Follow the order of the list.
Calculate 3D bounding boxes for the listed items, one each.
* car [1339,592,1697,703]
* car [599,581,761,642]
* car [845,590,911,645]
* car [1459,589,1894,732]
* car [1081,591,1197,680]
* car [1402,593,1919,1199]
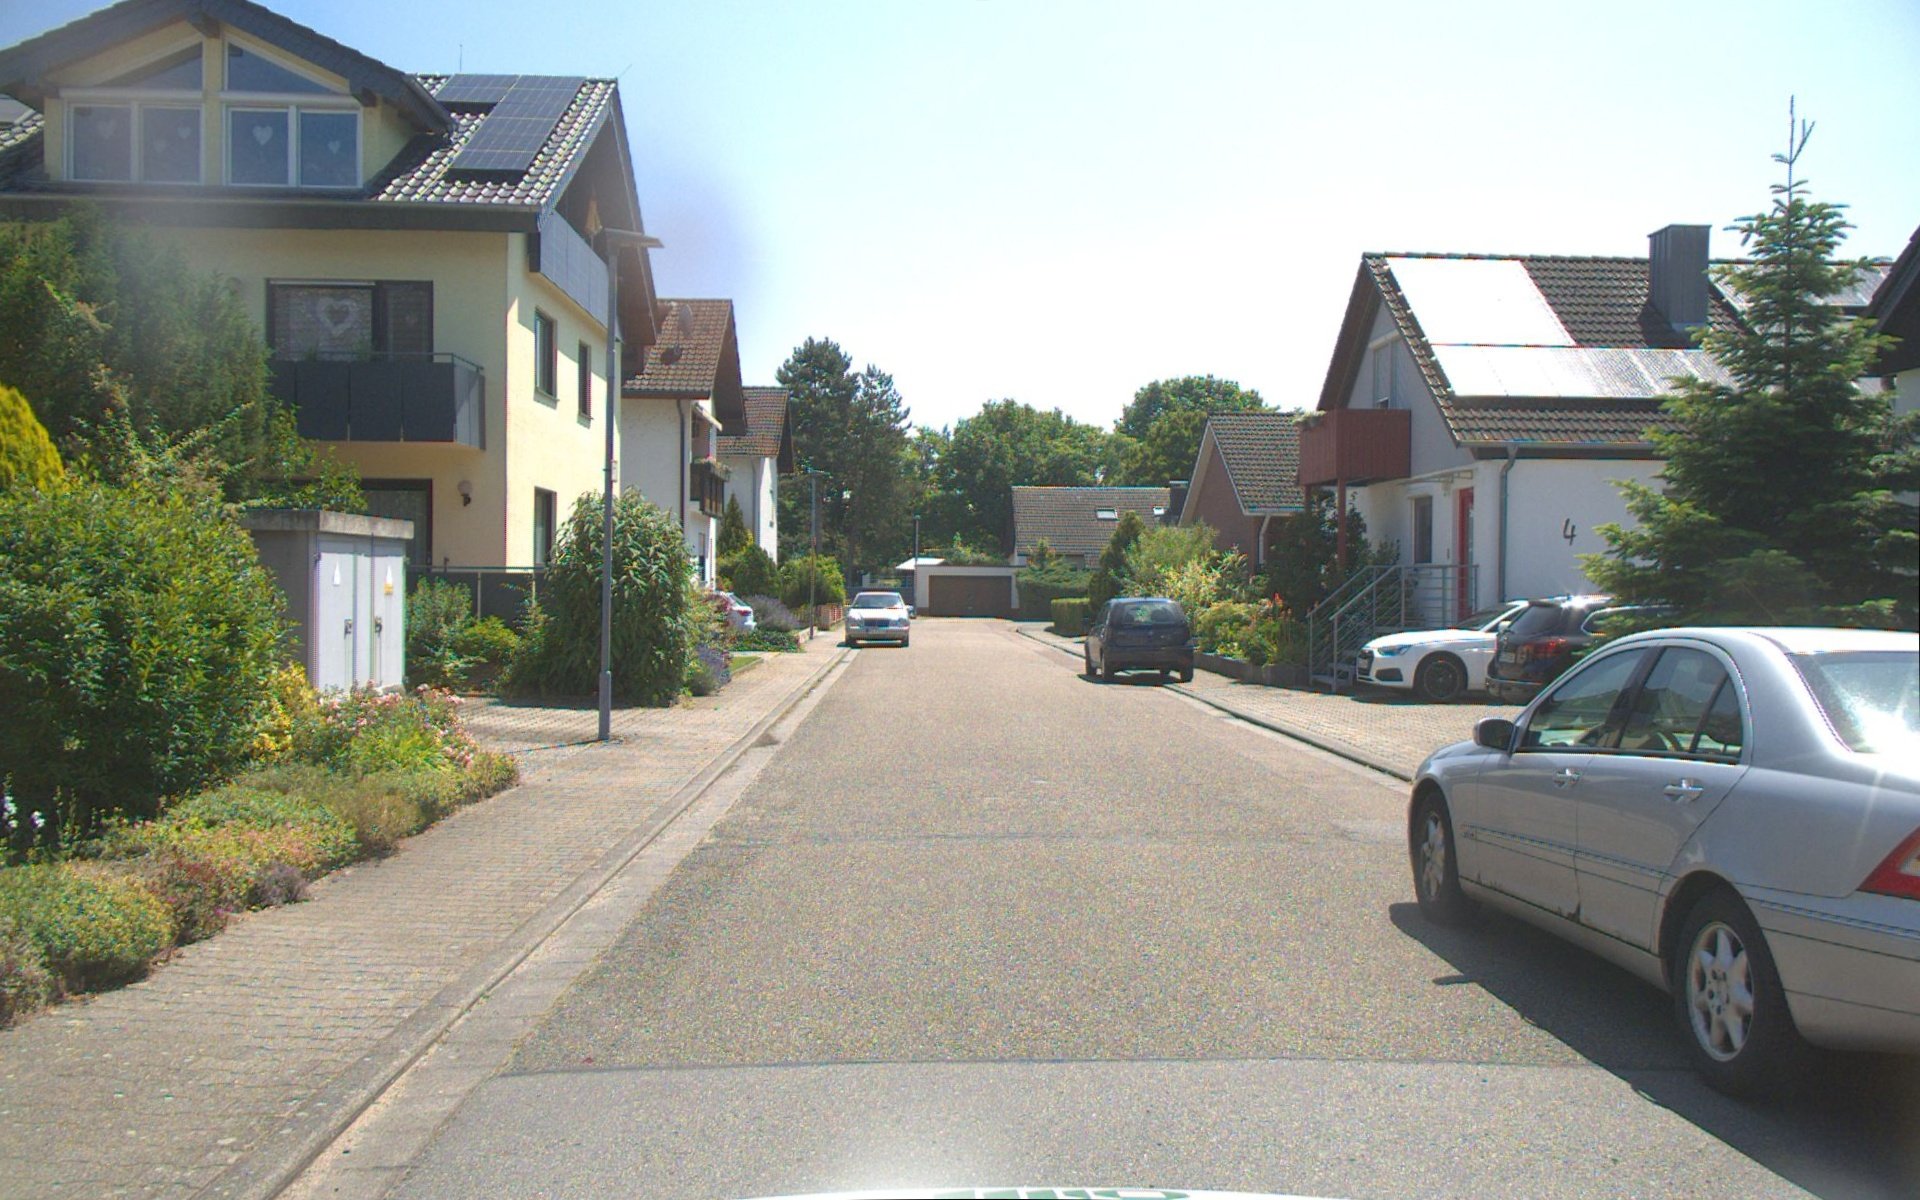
[{"bbox_3d":[7.858,0.647,23.596,4.444,1.421,1.952,1,1,0],"label":"car"},{"bbox_3d":[-7.028,0.280,41.798,3.911,1.445,1.843,1,0,-7],"label":"car"},{"bbox_3d":[-2.237,0.451,45.981,1.665,1.417,4.336,1,1,-1],"label":"car"},{"bbox_3d":[8.167,0.663,19.122,4.155,1.512,1.999,1,1,-2],"label":"car"},{"bbox_3d":[3.182,0.599,29.941,1.617,1.465,3.651,1,1,-1],"label":"car"},{"bbox_3d":[3.120,0.734,6.257,1.652,1.485,4.336,1,1,-1],"label":"car"}]
